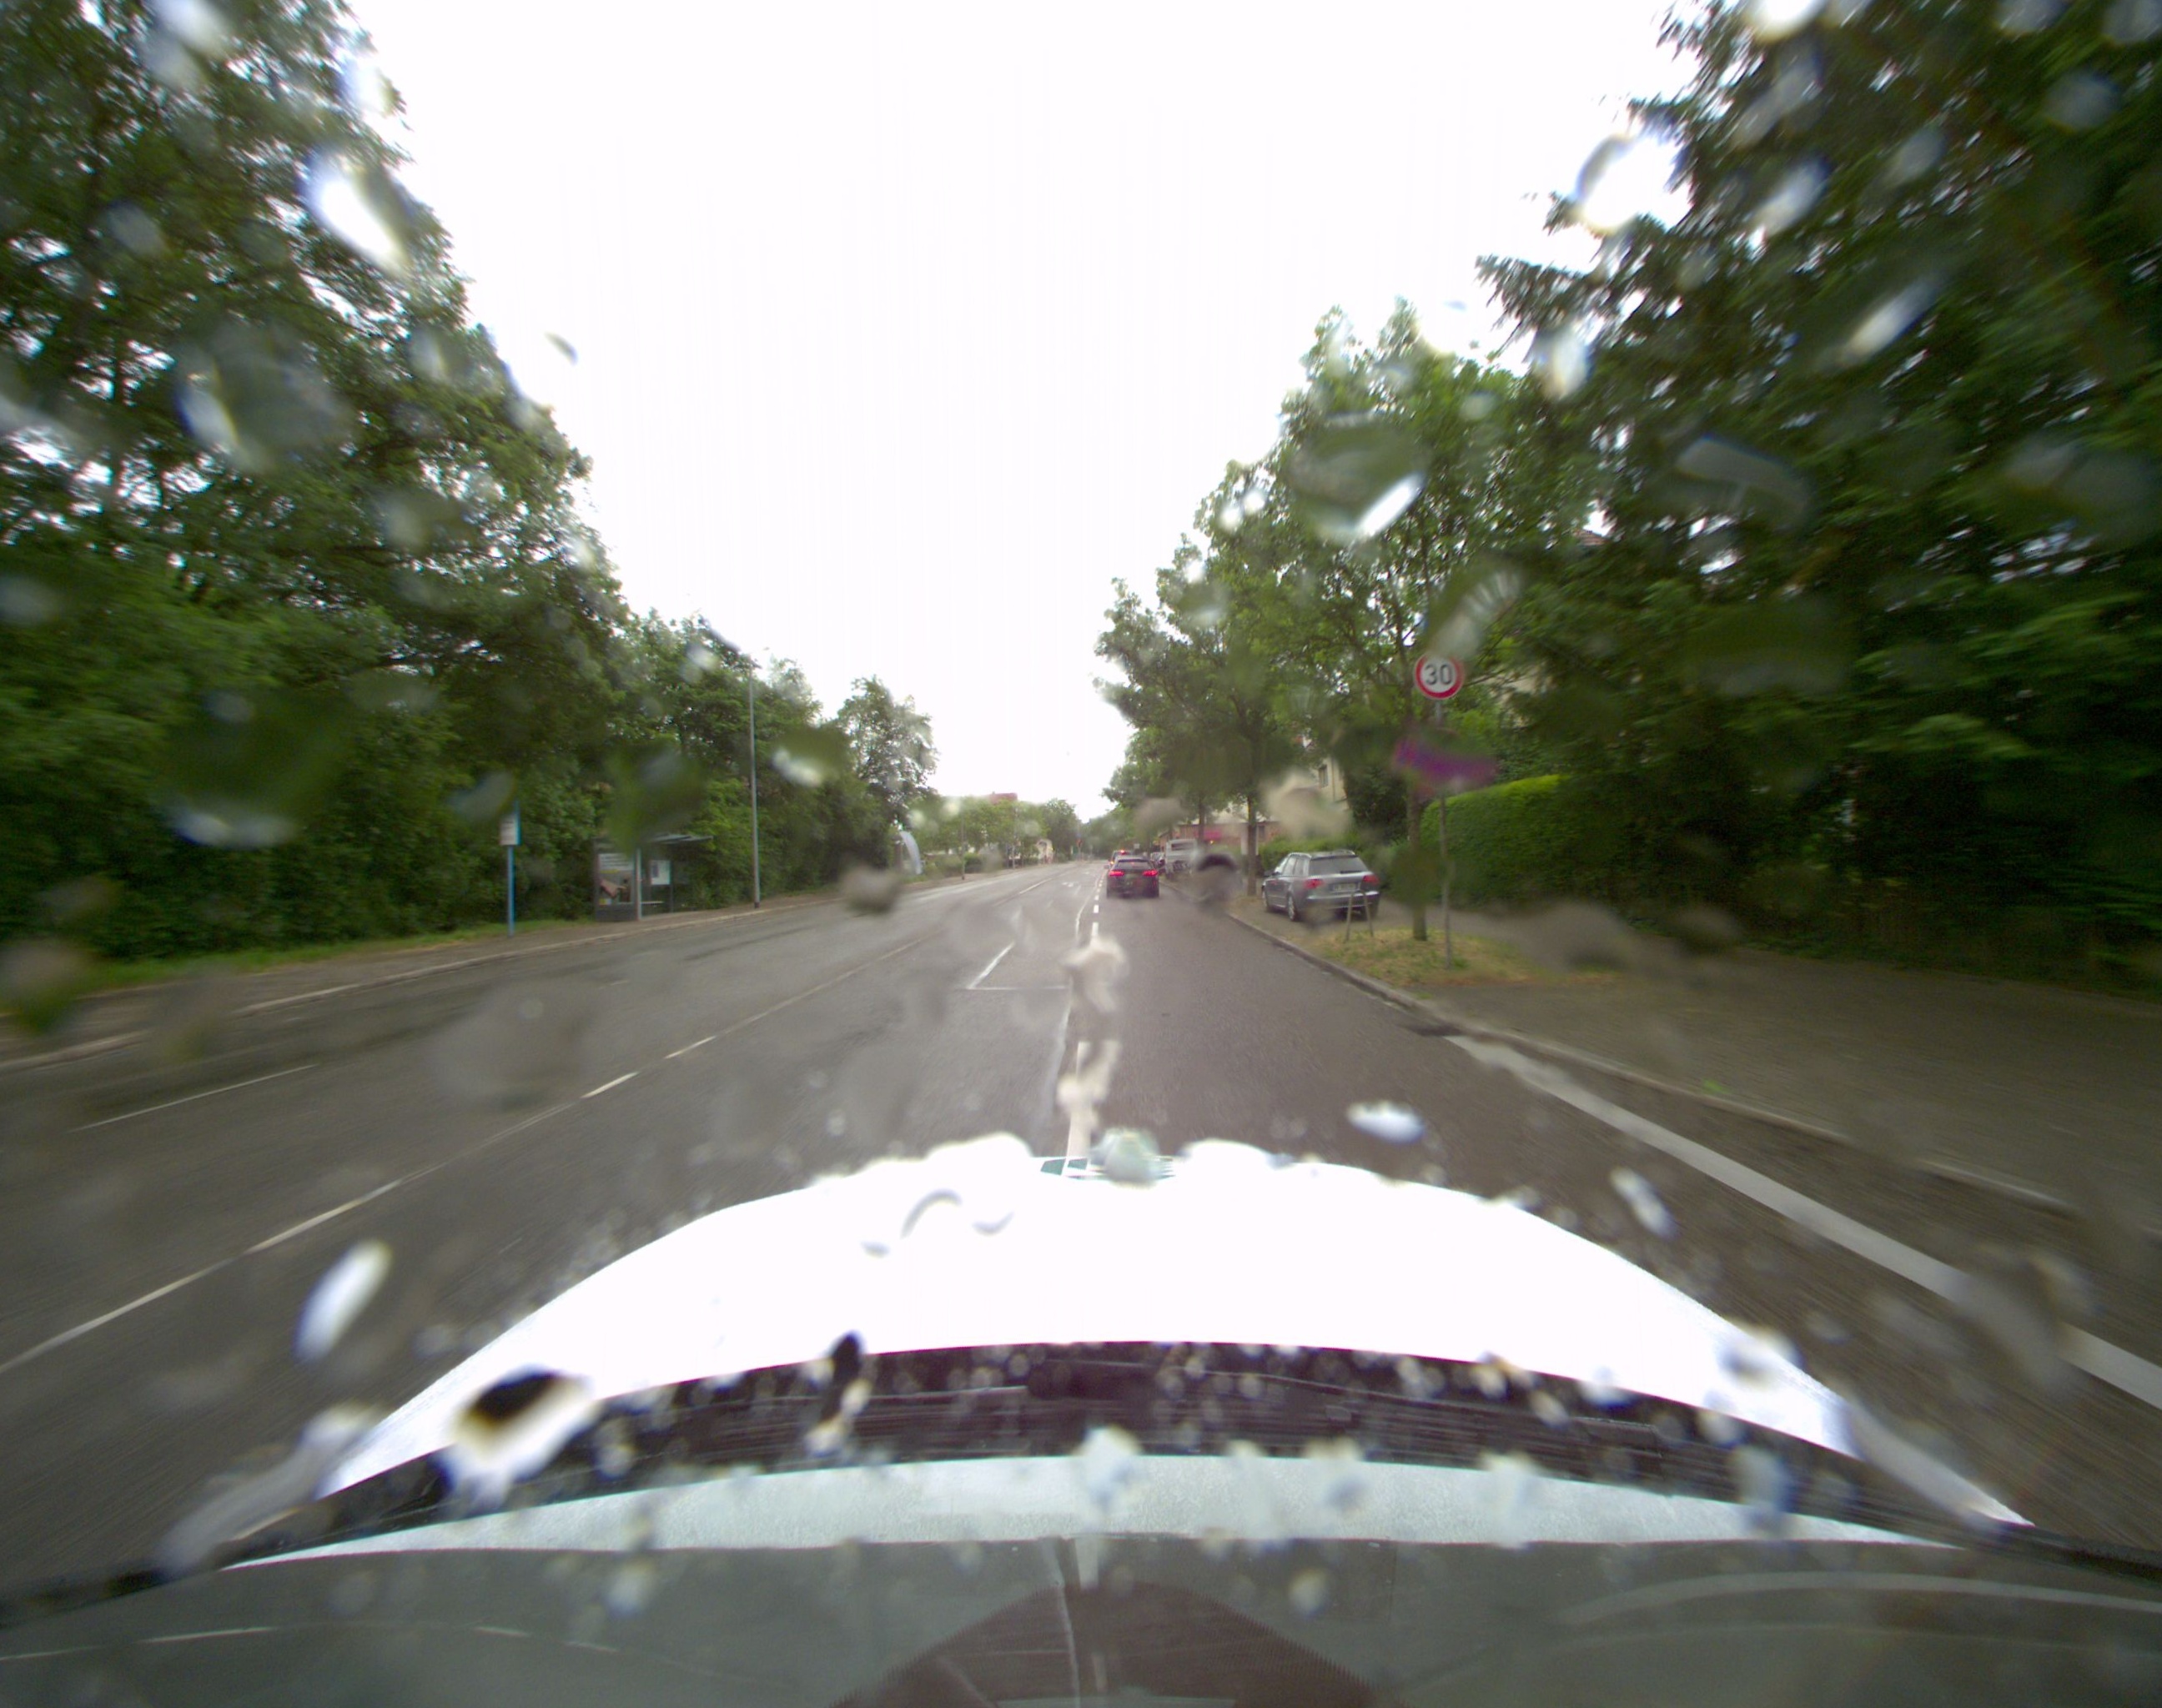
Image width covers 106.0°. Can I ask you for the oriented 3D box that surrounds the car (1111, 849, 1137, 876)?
[{"bbox_3d":[3.080,0.584,59.143,1.777,1.817,4.001,-1,0,1],"label":"car"}]

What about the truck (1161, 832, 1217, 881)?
[{"bbox_3d":[5.560,0.135,42.769,2.073,2.221,6.503,-5,0,1],"label":"truck"}]

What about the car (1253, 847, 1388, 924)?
[{"bbox_3d":[5.160,0.601,18.163,1.682,1.389,4.501,-4,0,1],"label":"car"}]

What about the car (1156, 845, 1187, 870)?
[{"bbox_3d":[5.970,0.213,54.153,1.707,1.498,4.186,-4,0,3],"label":"car"}]

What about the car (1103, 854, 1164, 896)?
[{"bbox_3d":[1.901,0.741,30.717,2.057,1.446,4.483,0,0,1],"label":"car"}]

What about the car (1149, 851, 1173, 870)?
[{"bbox_3d":[6.804,0.524,69.494,1.578,1.490,3.628,-5,0,1],"label":"car"}]

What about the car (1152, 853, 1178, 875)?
[{"bbox_3d":[6.199,0.692,60.203,1.598,1.472,3.859,-5,0,3],"label":"car"}]

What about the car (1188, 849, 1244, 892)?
[{"bbox_3d":[5.197,0.581,31.814,1.595,1.436,4.024,-4,0,3],"label":"car"}]
